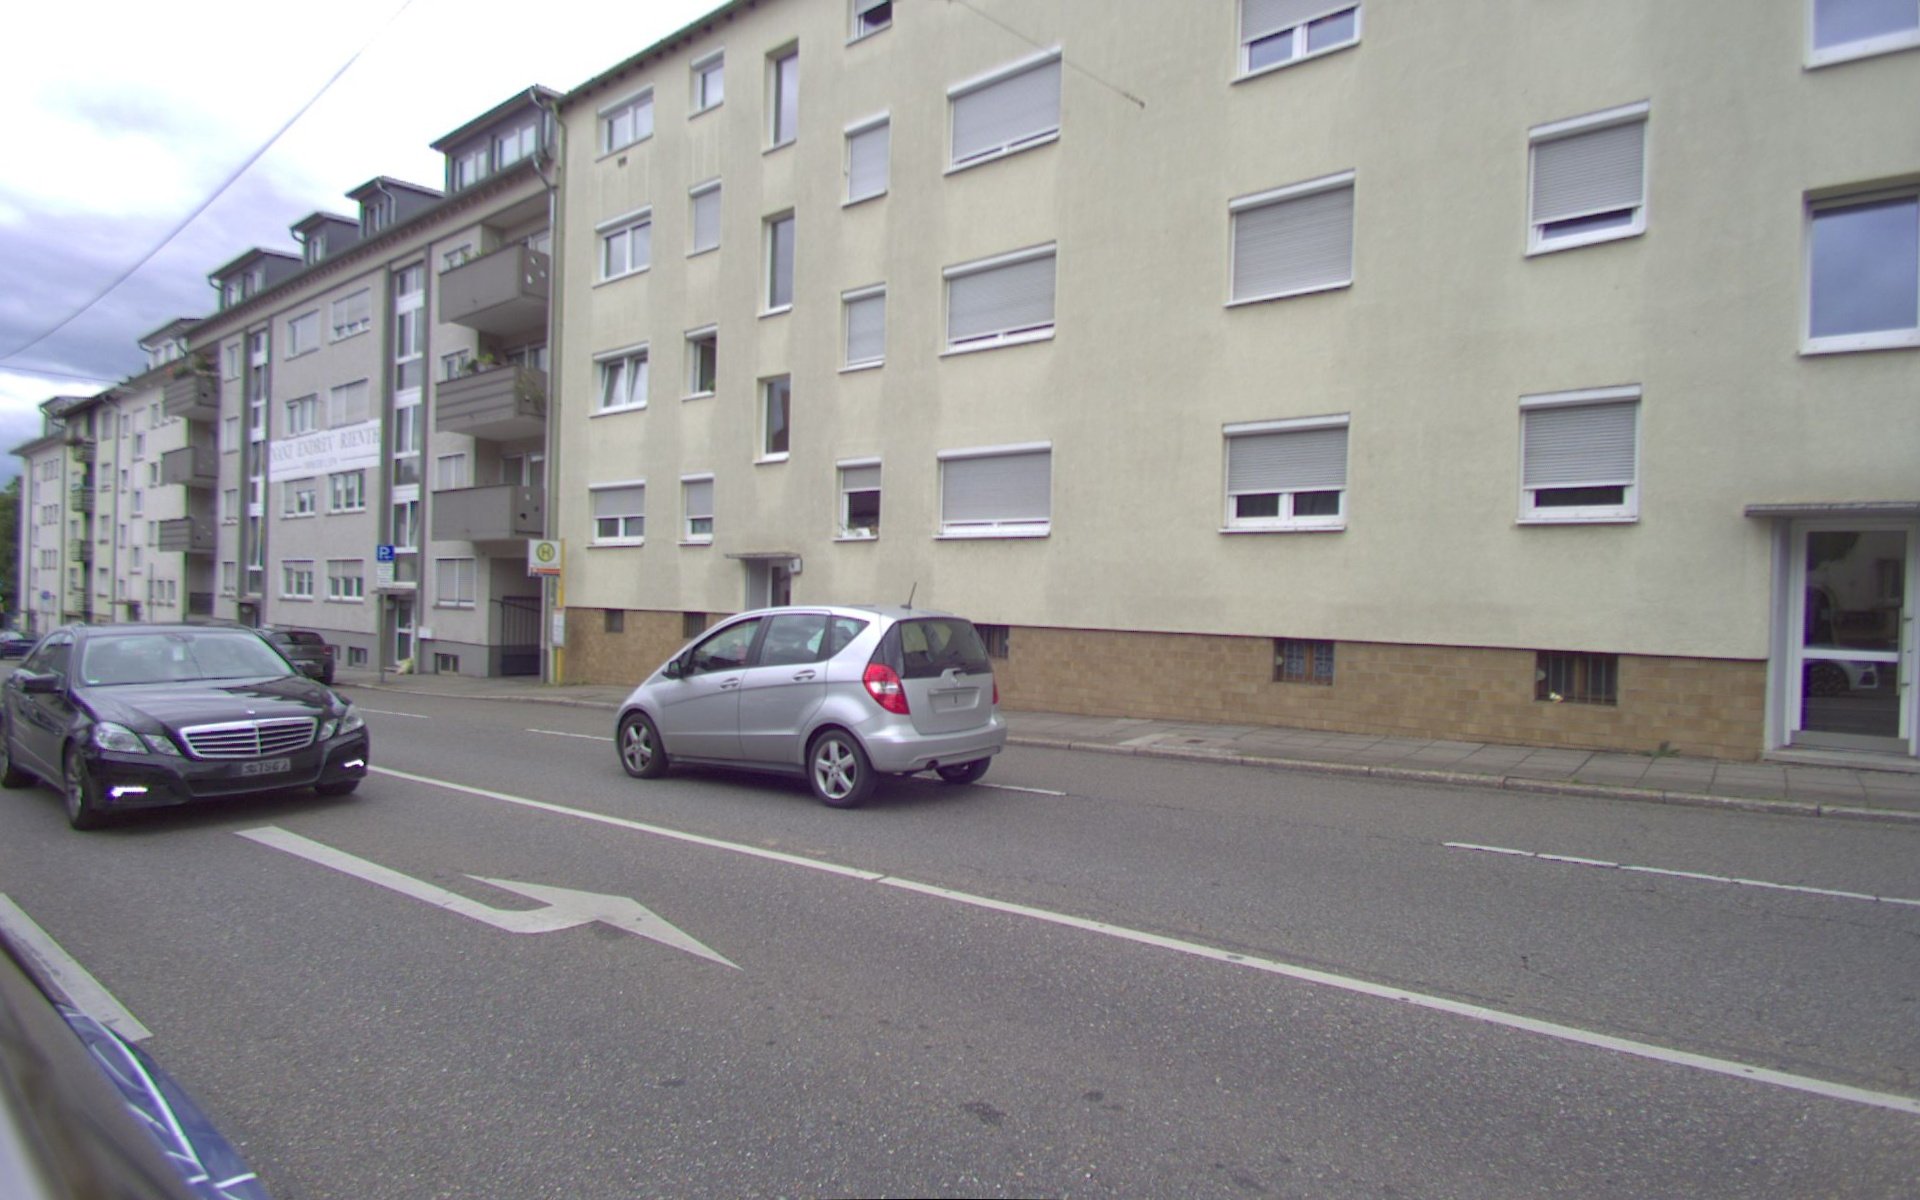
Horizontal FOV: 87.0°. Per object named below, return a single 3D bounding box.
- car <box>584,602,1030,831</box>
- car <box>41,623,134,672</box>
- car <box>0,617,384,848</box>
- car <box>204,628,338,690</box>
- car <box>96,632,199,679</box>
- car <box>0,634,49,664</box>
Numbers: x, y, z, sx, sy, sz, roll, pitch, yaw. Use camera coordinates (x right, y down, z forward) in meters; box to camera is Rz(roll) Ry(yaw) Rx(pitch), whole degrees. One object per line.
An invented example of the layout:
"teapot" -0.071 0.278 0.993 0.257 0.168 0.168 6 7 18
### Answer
"car" -1.500 0.855 9.129 3.994 1.630 1.693 -1 -1 38
"car" -33.540 1.796 38.873 4.302 1.767 1.852 -1 -4 39
"car" -6.741 0.888 8.570 4.440 1.465 1.731 -1 -1 39
"car" -17.801 1.500 26.104 3.797 1.447 1.751 -1 -4 39
"car" -26.775 1.783 33.306 4.303 1.416 1.750 -1 -2 39
"car" -46.406 2.404 49.716 4.305 1.391 1.851 -1 -4 41
